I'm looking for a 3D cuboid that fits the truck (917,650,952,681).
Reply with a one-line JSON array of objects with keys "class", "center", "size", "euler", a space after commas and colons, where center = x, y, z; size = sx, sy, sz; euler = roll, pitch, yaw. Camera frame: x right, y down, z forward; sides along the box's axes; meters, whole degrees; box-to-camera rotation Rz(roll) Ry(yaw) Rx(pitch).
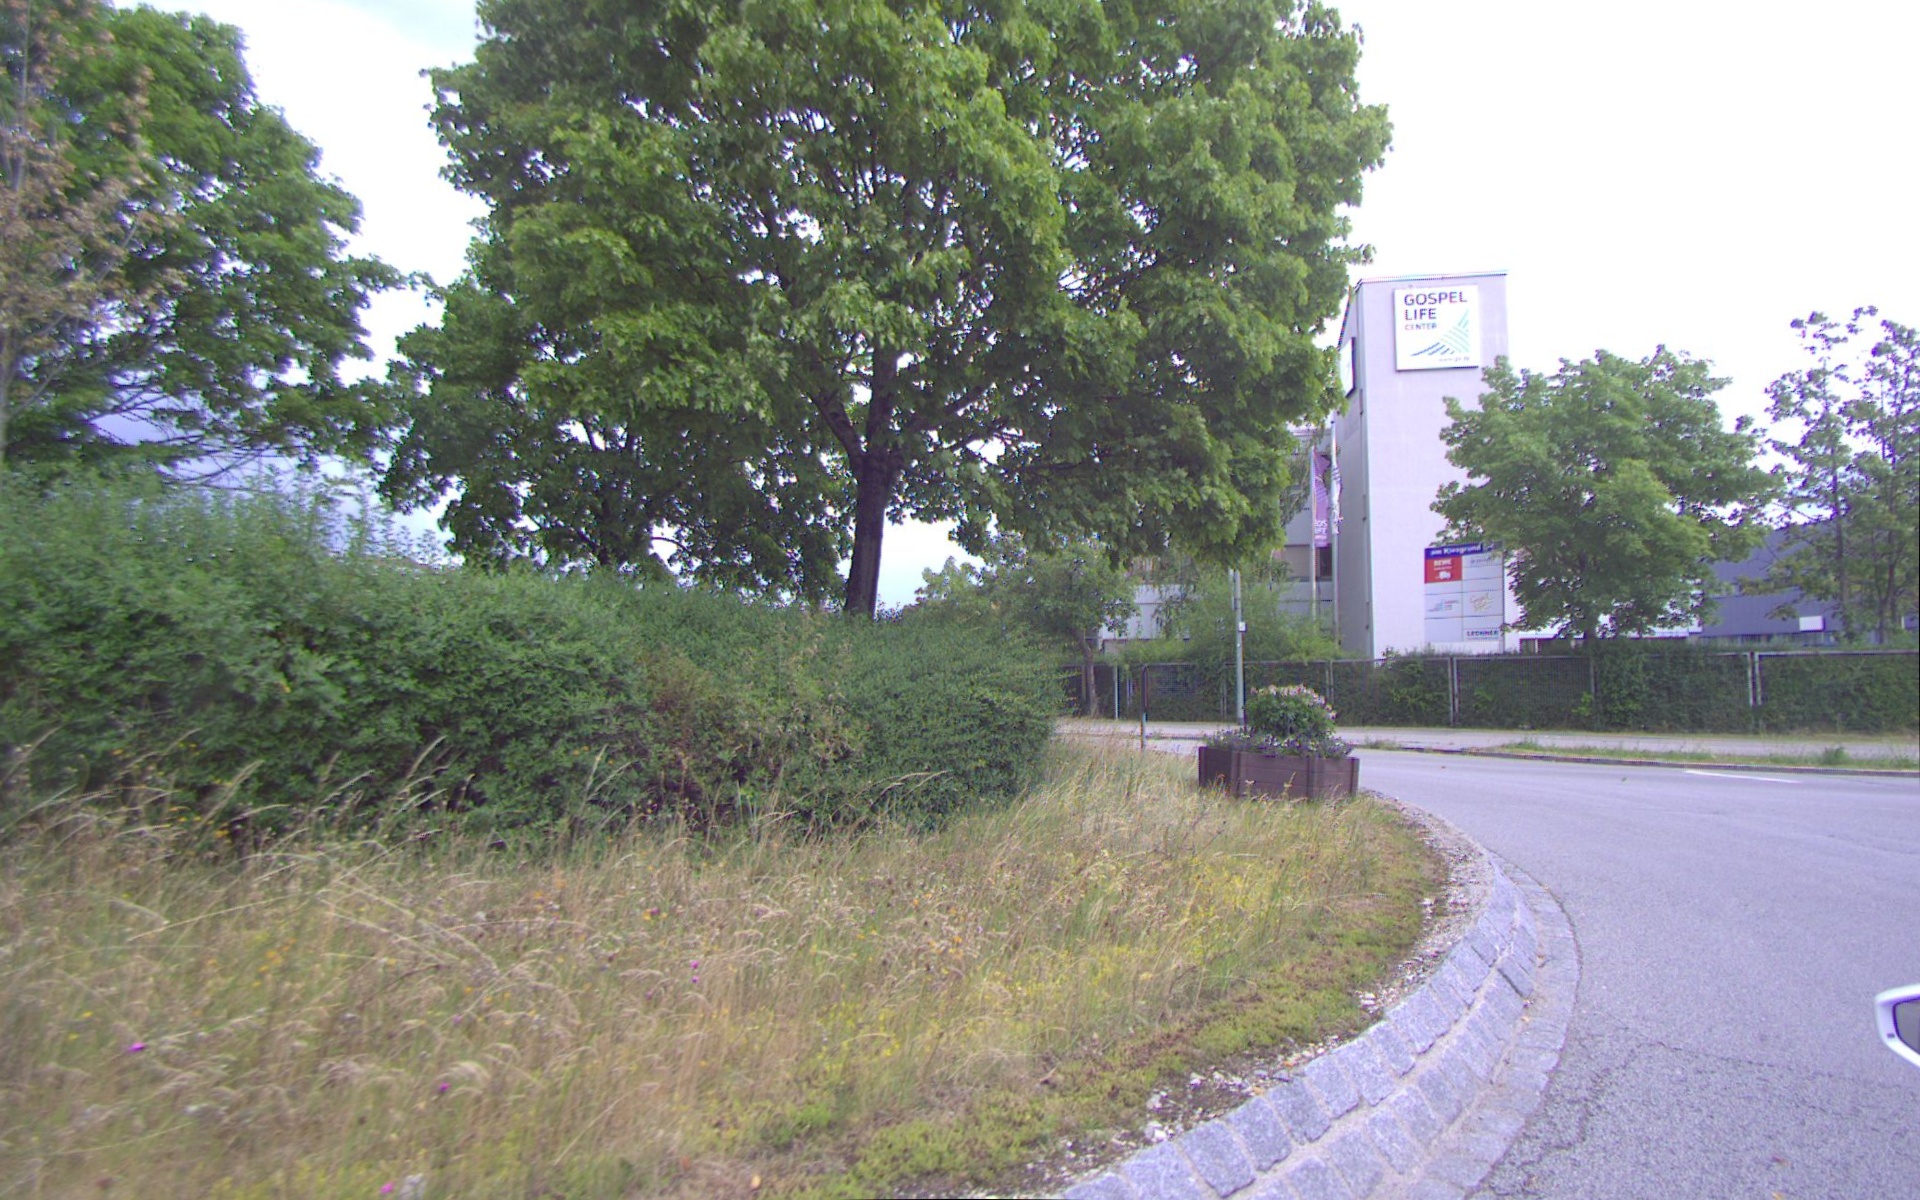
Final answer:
[{"class": "truck", "center": [-2.075, 5.432, 83.597], "size": [2.243, 2.531, 5.289], "euler": [-1, -3, 5]}]
